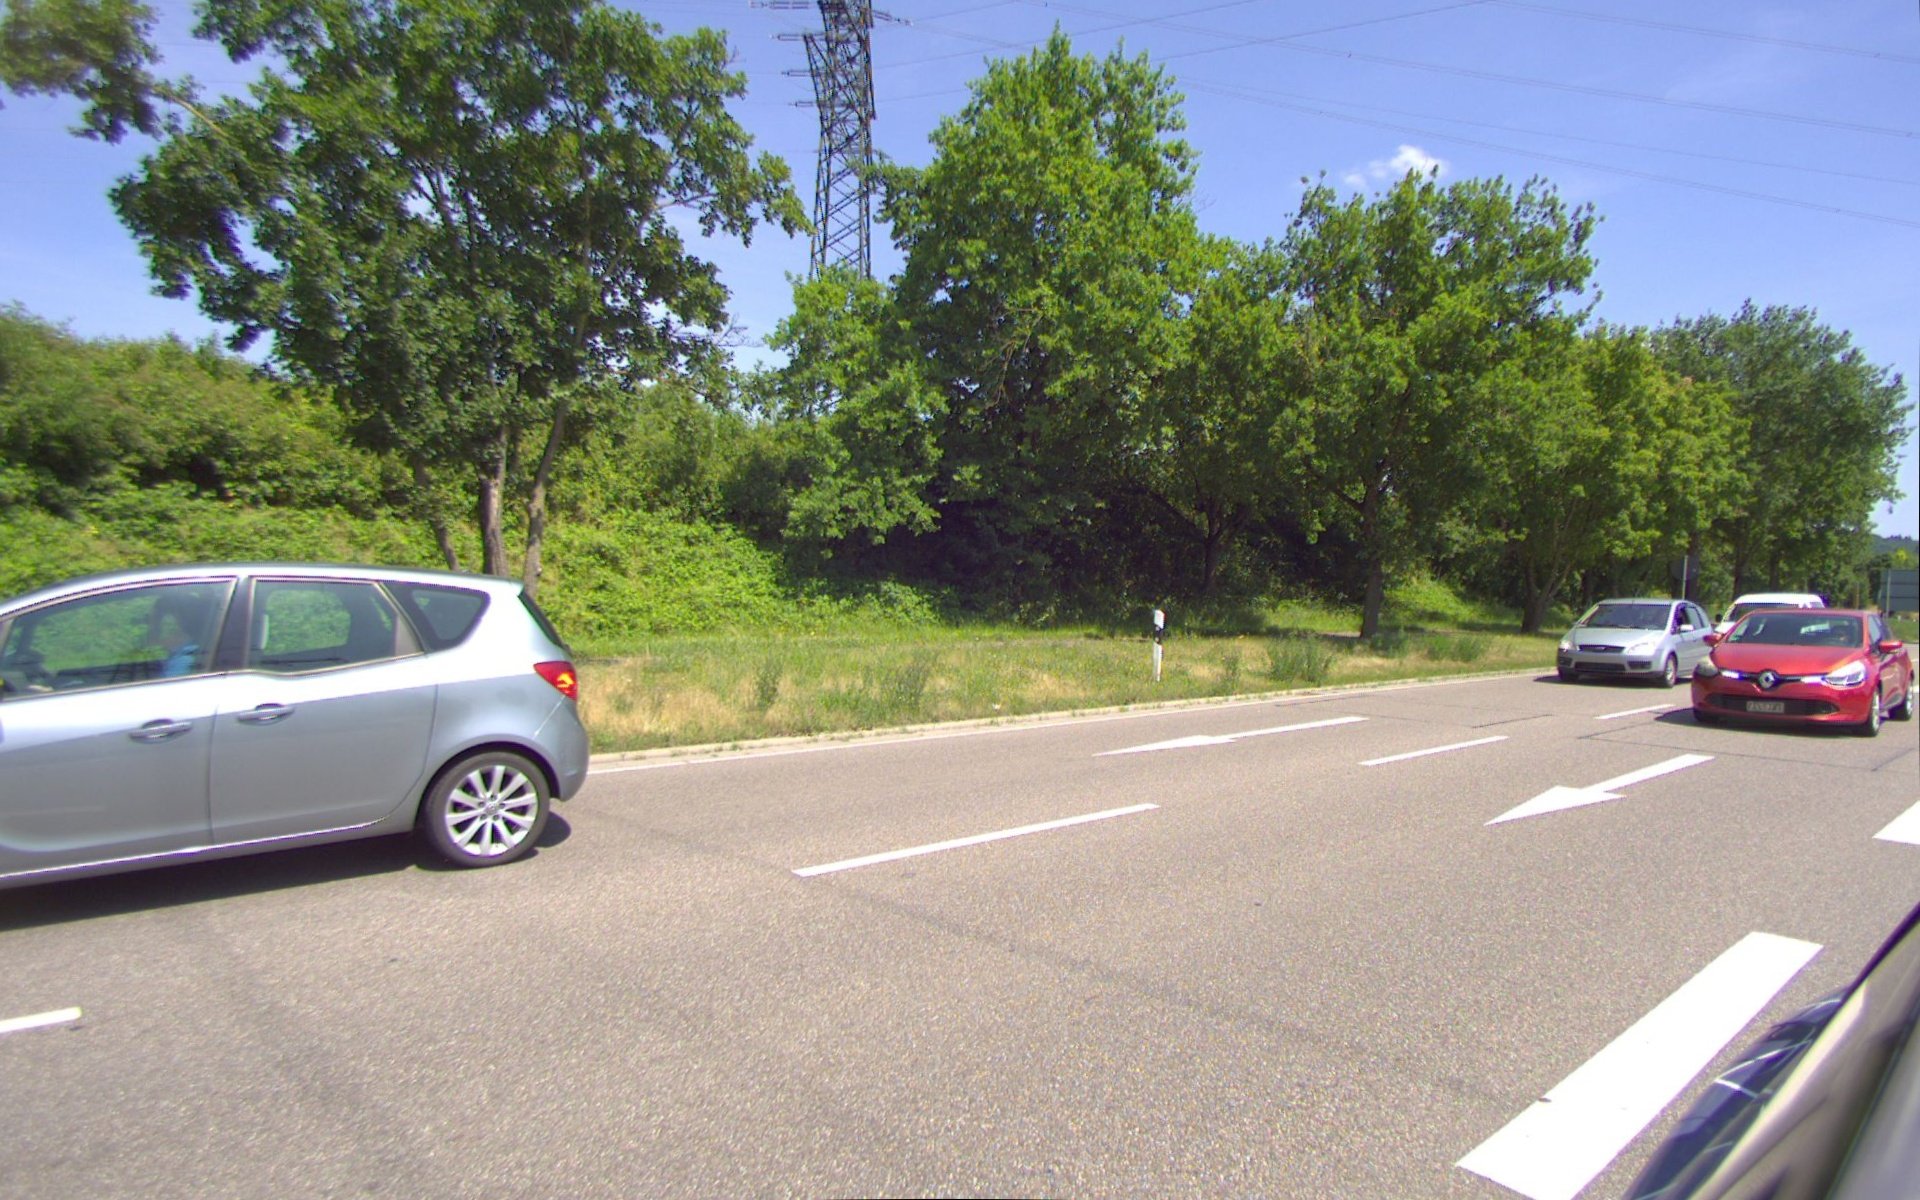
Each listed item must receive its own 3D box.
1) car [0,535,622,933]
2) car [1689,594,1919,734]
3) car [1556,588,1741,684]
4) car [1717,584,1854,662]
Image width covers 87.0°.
[{"bbox_3d":[-4.053,0.525,5.110,4.090,1.615,1.769,1,1,-39],"label":"car"},{"bbox_3d":[10.812,0.685,12.739,3.993,1.480,1.746,0,0,-40],"label":"car"},{"bbox_3d":[12.929,0.604,18.915,4.195,1.614,1.747,0,0,-39],"label":"car"},{"bbox_3d":[21.208,0.553,25.929,4.947,1.823,1.808,0,0,-40],"label":"car"}]
